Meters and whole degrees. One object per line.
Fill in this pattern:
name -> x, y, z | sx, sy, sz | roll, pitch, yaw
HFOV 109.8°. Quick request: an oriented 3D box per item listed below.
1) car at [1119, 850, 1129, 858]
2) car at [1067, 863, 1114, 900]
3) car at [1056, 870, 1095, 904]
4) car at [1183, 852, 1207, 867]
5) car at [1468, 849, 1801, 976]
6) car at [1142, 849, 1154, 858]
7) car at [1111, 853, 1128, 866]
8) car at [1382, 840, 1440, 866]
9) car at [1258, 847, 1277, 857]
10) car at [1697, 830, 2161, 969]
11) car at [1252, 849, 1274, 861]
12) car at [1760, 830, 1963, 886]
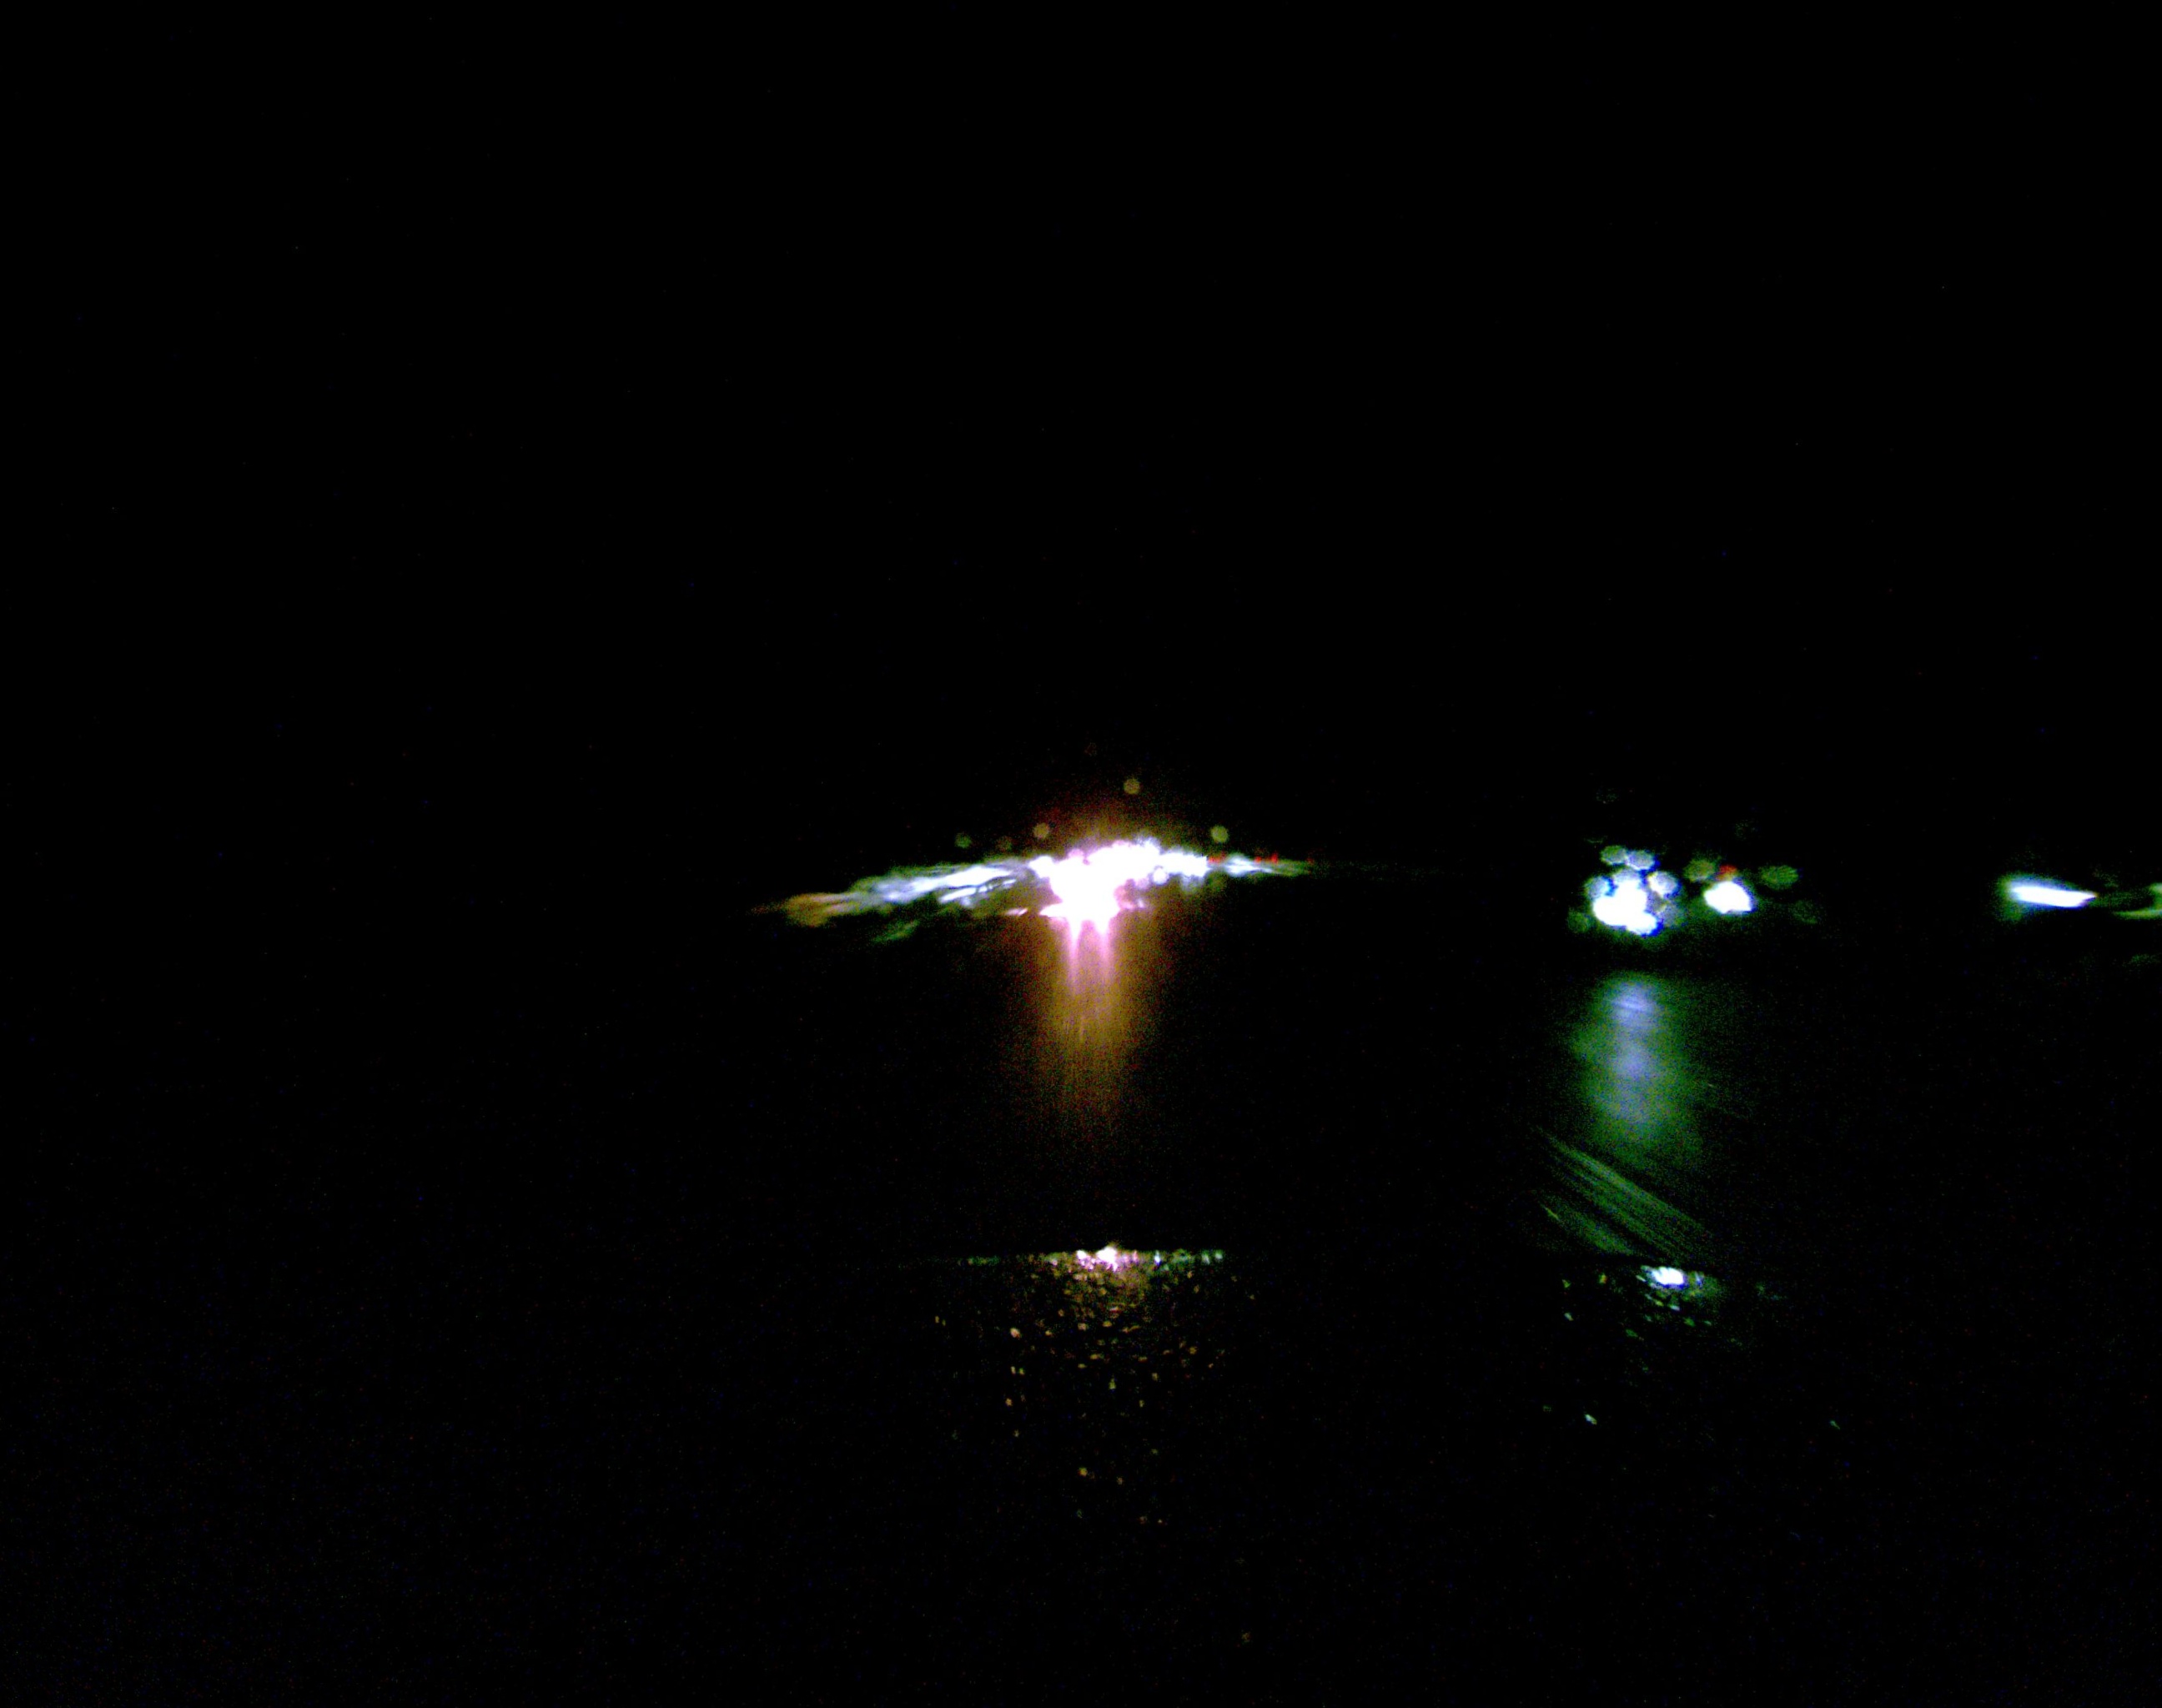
car -> 9.241, 0.020, 164.153 | 1.998, 1.551, 4.587 | -2, 1, 1
car -> 0.461, 1.280, 35.613 | 1.998, 1.542, 4.001 | -2, -1, 1
car -> -0.200, 1.393, 32.947 | 1.525, 1.256, 3.369 | -2, 1, 1
car -> 12.648, 0.566, 84.385 | 1.998, 1.551, 4.587 | -2, 1, 1
car -> 7.713, 0.696, 11.190 | 1.998, 1.433, 4.000 | -2, 1, 1
car -> 13.679, -0.141, 155.225 | 1.998, 1.797, 4.000 | -2, 1, 2
car -> 4.992, 0.647, 99.351 | 1.998, 1.551, 4.587 | -2, 1, 1
car -> 21.651, -0.063, 50.043 | 1.884, 1.548, 4.459 | -2, 1, 0
car -> 29.429, -0.316, 120.108 | 1.884, 1.548, 4.460 | -2, 1, 0
car -> 11.922, 0.464, 10.897 | 1.998, 1.468, 5.164 | -2, 1, 1
car -> 25.468, 0.162, 106.313 | 1.885, 1.548, 4.459 | -2, 1, -1
car -> 24.575, 0.083, 24.211 | 1.884, 1.548, 4.459 | -2, 1, 0
